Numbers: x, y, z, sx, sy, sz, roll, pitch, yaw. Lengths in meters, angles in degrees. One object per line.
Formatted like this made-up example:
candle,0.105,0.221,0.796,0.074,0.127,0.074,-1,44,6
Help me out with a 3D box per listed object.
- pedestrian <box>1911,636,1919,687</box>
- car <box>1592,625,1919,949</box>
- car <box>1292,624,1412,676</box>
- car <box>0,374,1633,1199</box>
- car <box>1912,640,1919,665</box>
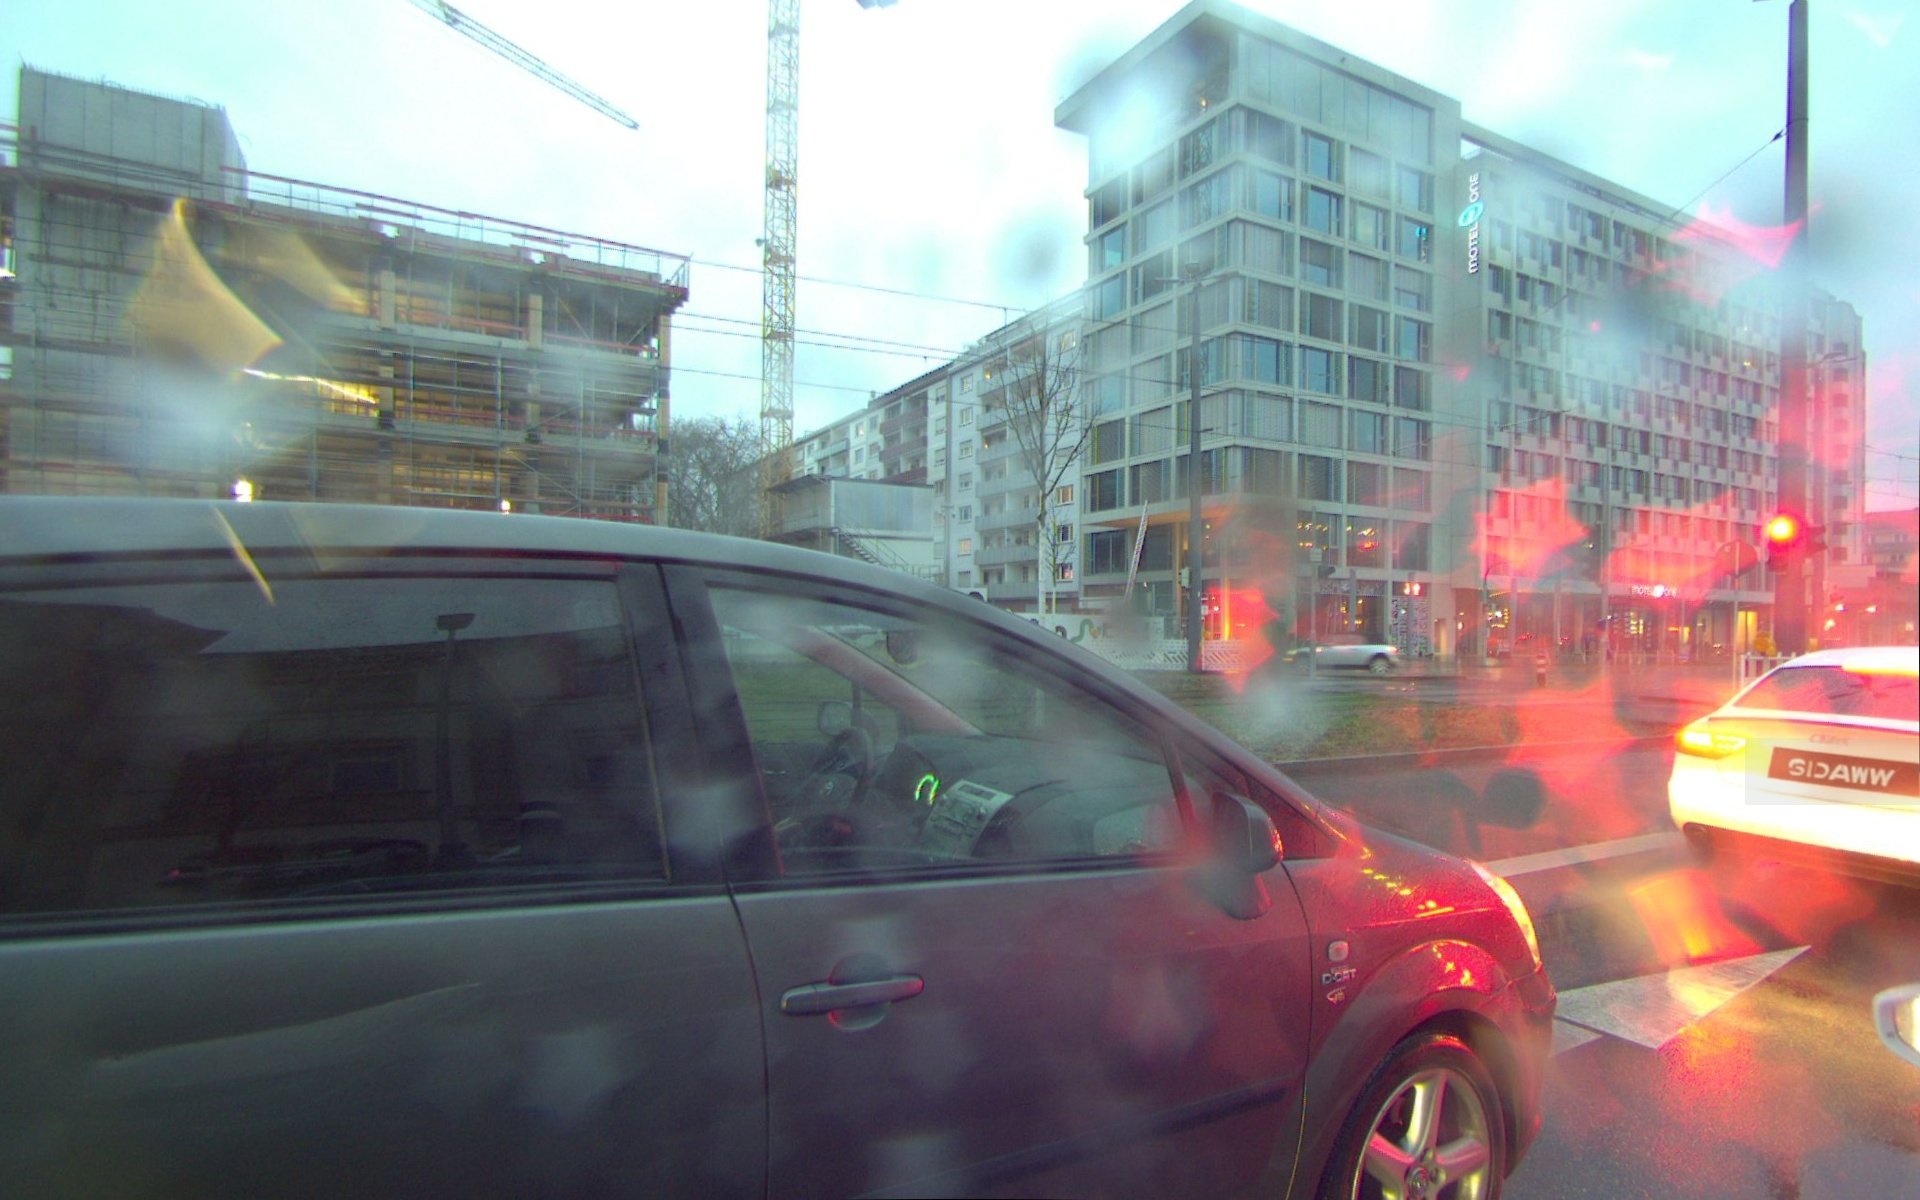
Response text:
pedestrian,32.806,2.097,34.044,0.808,1.734,0.782,2,0,-45
car,6.069,0.929,6.226,4.320,1.475,1.983,1,-1,-32
car,13.166,1.641,33.787,3.629,1.497,1.628,2,0,23
car,-0.557,0.653,2.131,4.089,1.668,1.801,1,0,-32
car,60.858,3.294,62.327,3.654,1.527,1.666,3,0,-31
